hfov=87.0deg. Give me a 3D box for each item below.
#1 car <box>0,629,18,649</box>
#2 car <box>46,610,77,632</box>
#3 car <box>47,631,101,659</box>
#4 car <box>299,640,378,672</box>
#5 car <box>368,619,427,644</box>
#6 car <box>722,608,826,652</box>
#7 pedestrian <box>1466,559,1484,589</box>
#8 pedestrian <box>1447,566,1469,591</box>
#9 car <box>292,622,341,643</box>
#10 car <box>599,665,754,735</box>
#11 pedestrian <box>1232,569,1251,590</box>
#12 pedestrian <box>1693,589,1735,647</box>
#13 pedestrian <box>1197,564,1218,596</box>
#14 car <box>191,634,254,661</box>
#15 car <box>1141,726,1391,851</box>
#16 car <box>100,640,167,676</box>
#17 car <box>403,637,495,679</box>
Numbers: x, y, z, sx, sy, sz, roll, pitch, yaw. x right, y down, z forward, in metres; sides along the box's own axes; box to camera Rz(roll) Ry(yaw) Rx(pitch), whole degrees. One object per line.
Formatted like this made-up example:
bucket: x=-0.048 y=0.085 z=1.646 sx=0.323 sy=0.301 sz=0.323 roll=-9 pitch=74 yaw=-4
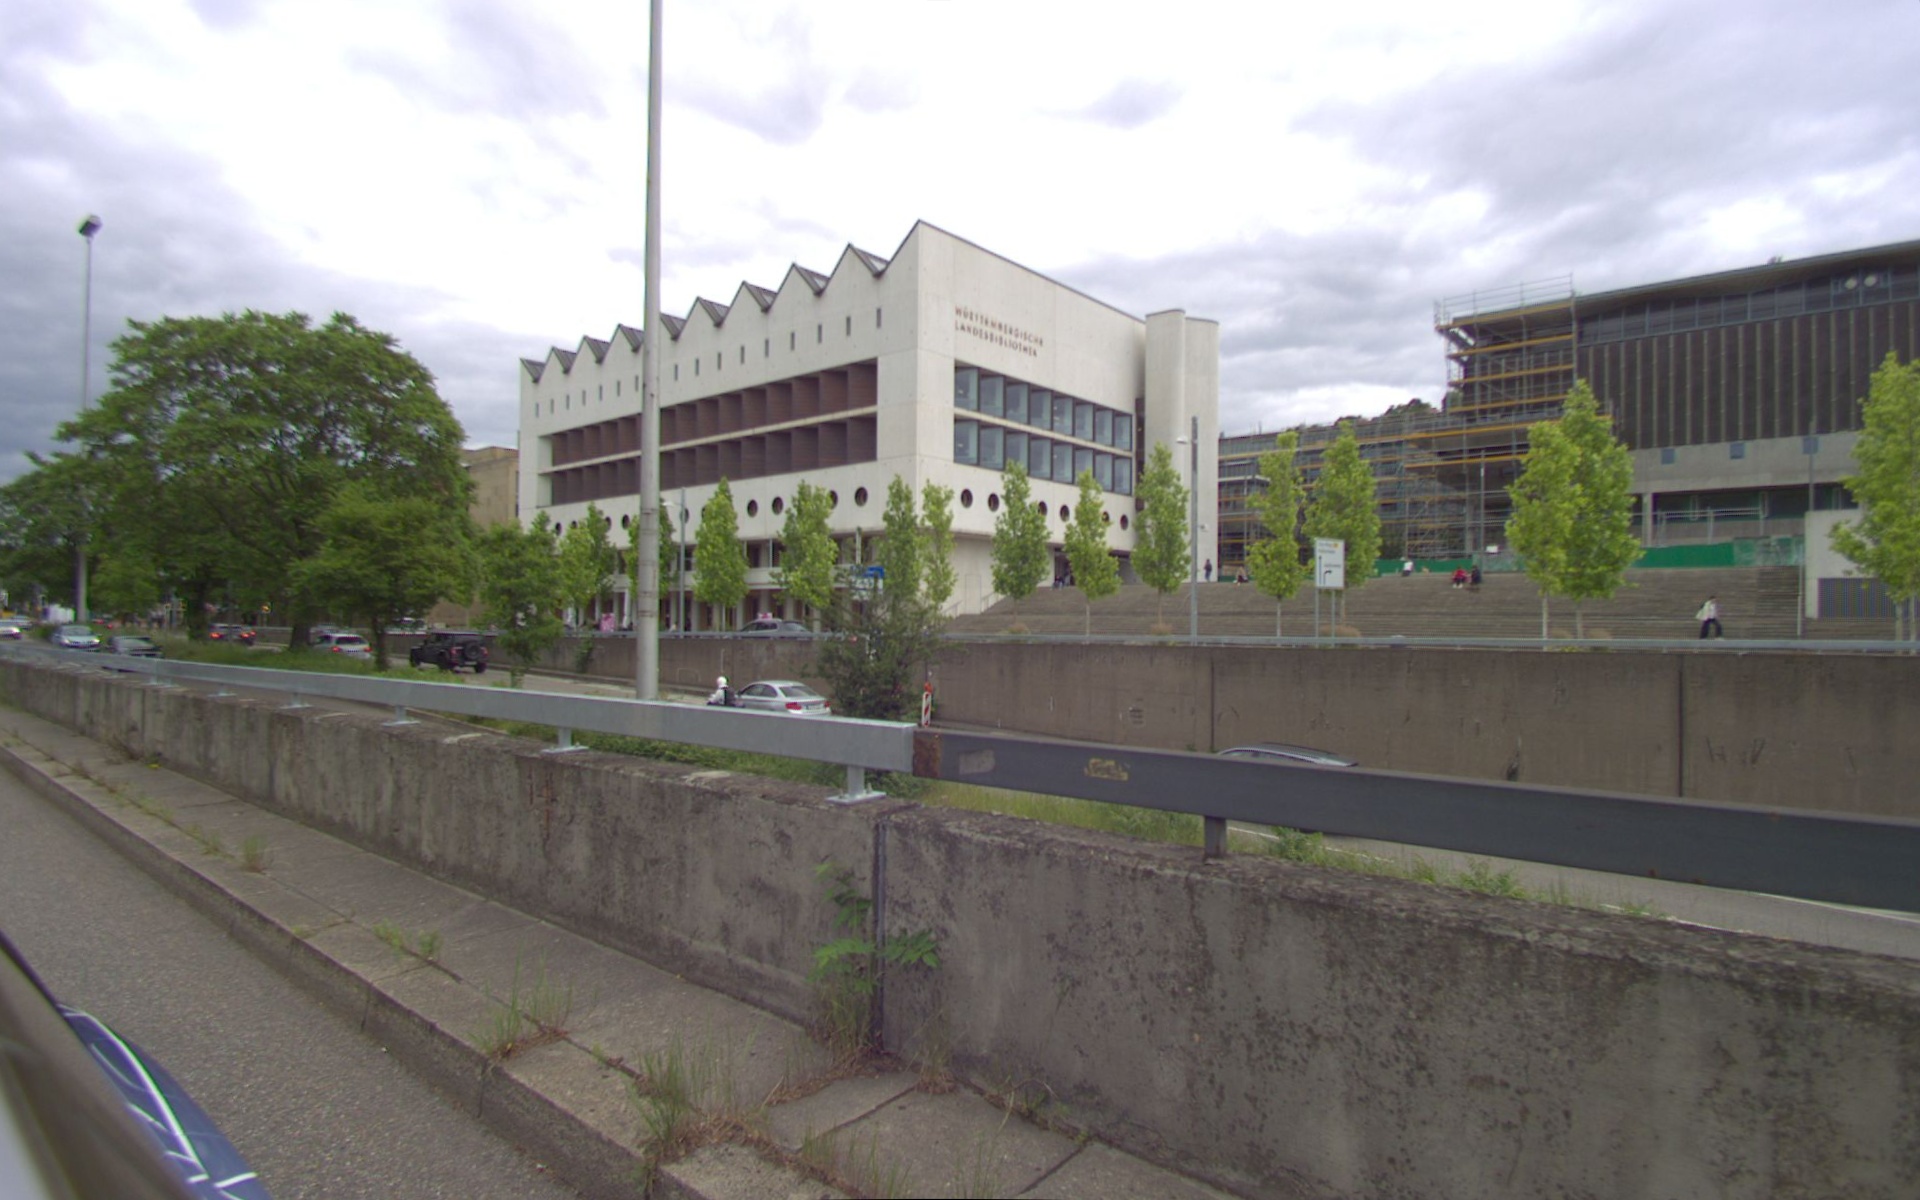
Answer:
car: x=-70.428 y=2.829 z=74.126 sx=4.089 sy=1.425 sz=1.636 roll=-1 pitch=-1 yaw=40
car: x=-80.570 y=1.887 z=90.727 sx=3.999 sy=1.868 sz=1.588 roll=-1 pitch=1 yaw=42
car: x=-47.500 y=2.389 z=54.209 sx=4.088 sy=1.425 sz=1.539 roll=-1 pitch=-1 yaw=39
car: x=-29.086 y=2.608 z=47.310 sx=3.998 sy=1.409 sz=1.973 roll=-1 pitch=-5 yaw=41
car: x=-38.455 y=2.150 z=69.176 sx=4.485 sy=1.640 sz=1.931 roll=-1 pitch=-1 yaw=38
car: x=-7.627 y=1.214 z=41.241 sx=4.272 sy=1.595 sz=1.818 roll=1 pitch=-3 yaw=41
pedestrian: x=24.319 y=-1.240 z=47.769 sx=0.623 sy=1.248 sz=0.665 roll=-1 pitch=22 yaw=34
pedestrian: x=23.759 y=-1.042 z=48.275 sx=0.767 sy=0.949 sz=0.719 roll=-3 pitch=22 yaw=35
car: x=-51.422 y=2.553 z=80.875 sx=4.485 sy=1.640 sz=1.931 roll=-1 pitch=-1 yaw=38
car: x=-8.001 y=2.737 z=28.362 sx=4.515 sy=1.687 sz=1.973 roll=-1 pitch=-5 yaw=41
pedestrian: x=15.678 y=-1.165 z=56.329 sx=0.767 sy=0.950 sz=0.718 roll=2 pitch=21 yaw=34
pedestrian: x=26.709 y=0.638 z=35.858 sx=0.729 sy=2.029 sz=0.794 roll=-1 pitch=-3 yaw=-10
pedestrian: x=16.054 y=-1.288 z=65.640 sx=1.079 sy=2.029 sz=0.940 roll=-1 pitch=0 yaw=35
car: x=-41.396 y=2.639 z=56.768 sx=3.998 sy=1.409 sz=1.973 roll=-1 pitch=-5 yaw=41
car: x=6.055 y=3.652 z=20.297 sx=4.388 sy=1.625 sz=1.851 roll=3 pitch=-1 yaw=40
car: x=-35.735 y=2.483 z=43.743 sx=4.089 sy=1.425 sz=1.539 roll=-1 pitch=-1 yaw=40
car: x=-23.739 y=2.675 z=46.970 sx=4.514 sy=1.657 sz=2.133 roll=1 pitch=-3 yaw=40
